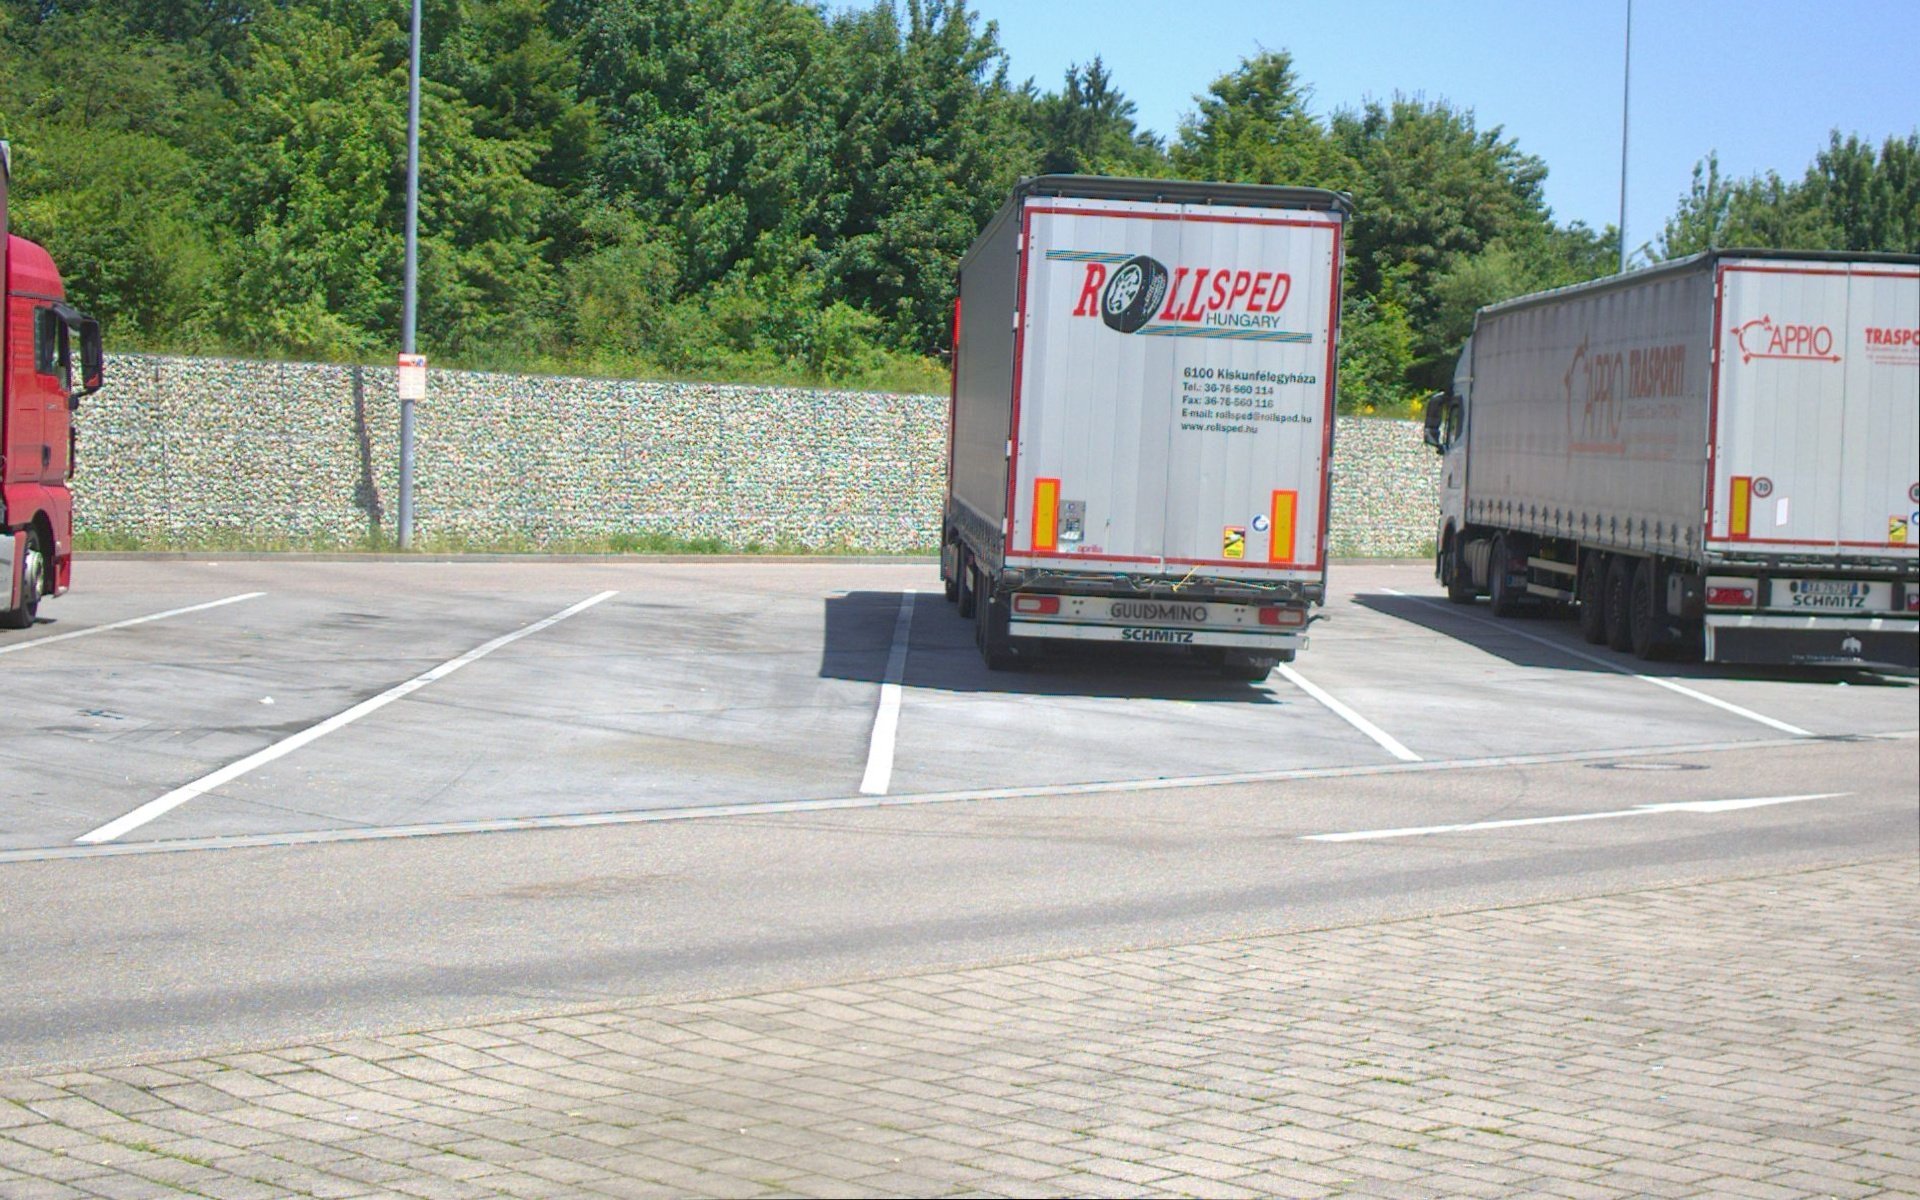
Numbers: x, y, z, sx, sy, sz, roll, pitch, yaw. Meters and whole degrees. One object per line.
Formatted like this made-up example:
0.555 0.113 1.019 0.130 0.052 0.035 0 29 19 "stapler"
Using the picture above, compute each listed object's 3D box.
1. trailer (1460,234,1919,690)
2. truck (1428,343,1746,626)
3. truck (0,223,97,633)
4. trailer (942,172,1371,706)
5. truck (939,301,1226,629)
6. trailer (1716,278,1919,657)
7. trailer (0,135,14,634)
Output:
8.189 -1.583 38.360 2.858 4.095 13.765 2 3 -1 "trailer"
8.088 -1.563 45.126 2.865 3.351 5.975 2 3 -1 "truck"
-9.252 -1.455 28.186 2.812 3.351 5.975 2 3 -1 "truck"
1.459 -1.564 33.107 2.858 3.958 13.765 2 3 -1 "trailer"
1.276 -1.569 39.308 2.865 3.351 5.975 2 3 -1 "truck"
11.786 -1.497 39.372 2.858 4.095 13.765 2 3 -1 "trailer"
-9.165 -1.465 21.367 2.821 4.057 13.765 2 3 -1 "trailer"
